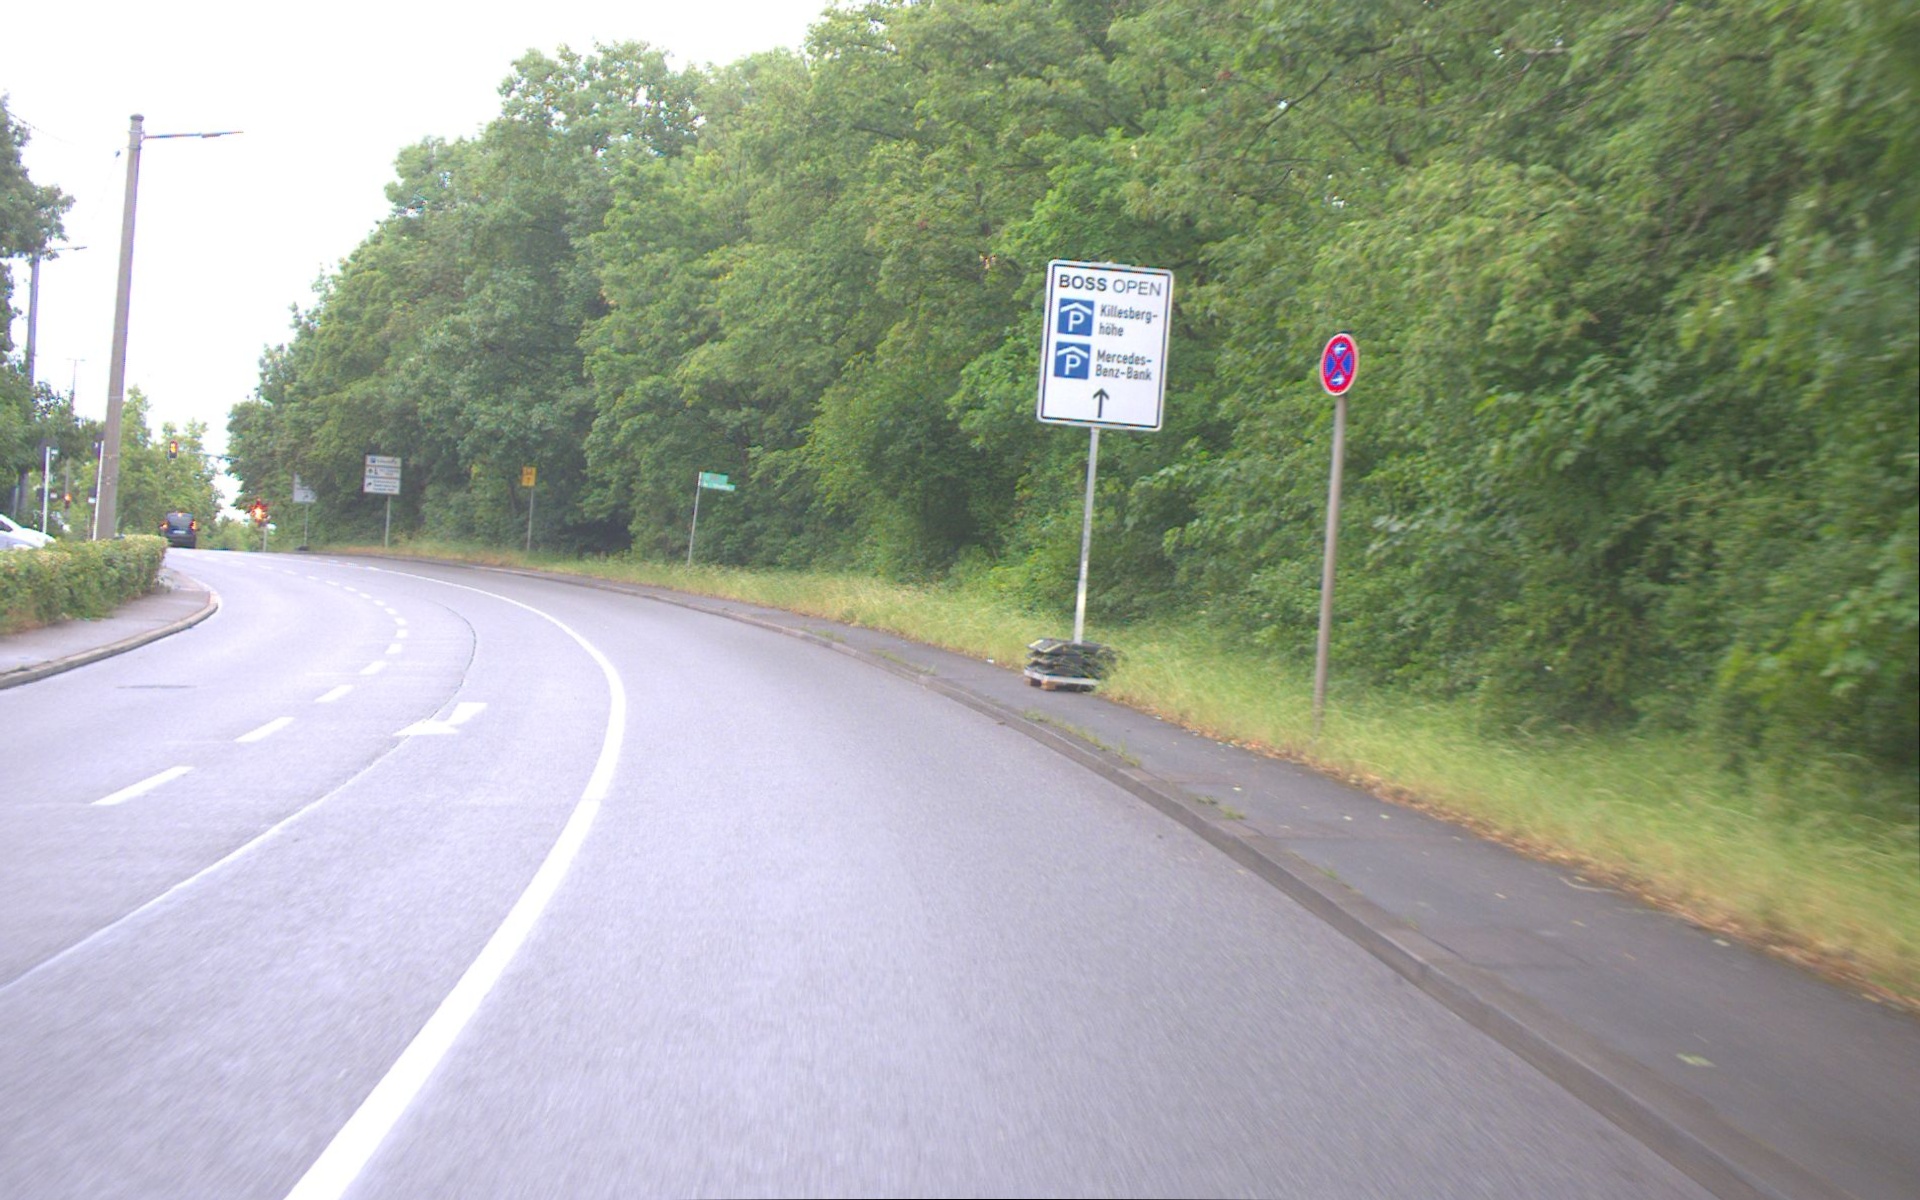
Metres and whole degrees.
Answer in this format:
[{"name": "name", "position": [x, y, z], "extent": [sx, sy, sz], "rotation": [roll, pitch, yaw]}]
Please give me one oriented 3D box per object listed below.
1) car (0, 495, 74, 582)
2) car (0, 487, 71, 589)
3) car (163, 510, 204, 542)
[{"name": "car", "position": [-18.715, -1.225, 65.048], "extent": [3.644, 1.586, 1.852], "rotation": [2, 1, -13]}, {"name": "car", "position": [-17.755, -1.150, 59.470], "extent": [4.290, 1.702, 2.000], "rotation": [2, 1, -6]}, {"name": "car", "position": [-39.007, -3.733, 172.703], "extent": [1.934, 1.493, 4.319], "rotation": [2, 1, -13]}]
